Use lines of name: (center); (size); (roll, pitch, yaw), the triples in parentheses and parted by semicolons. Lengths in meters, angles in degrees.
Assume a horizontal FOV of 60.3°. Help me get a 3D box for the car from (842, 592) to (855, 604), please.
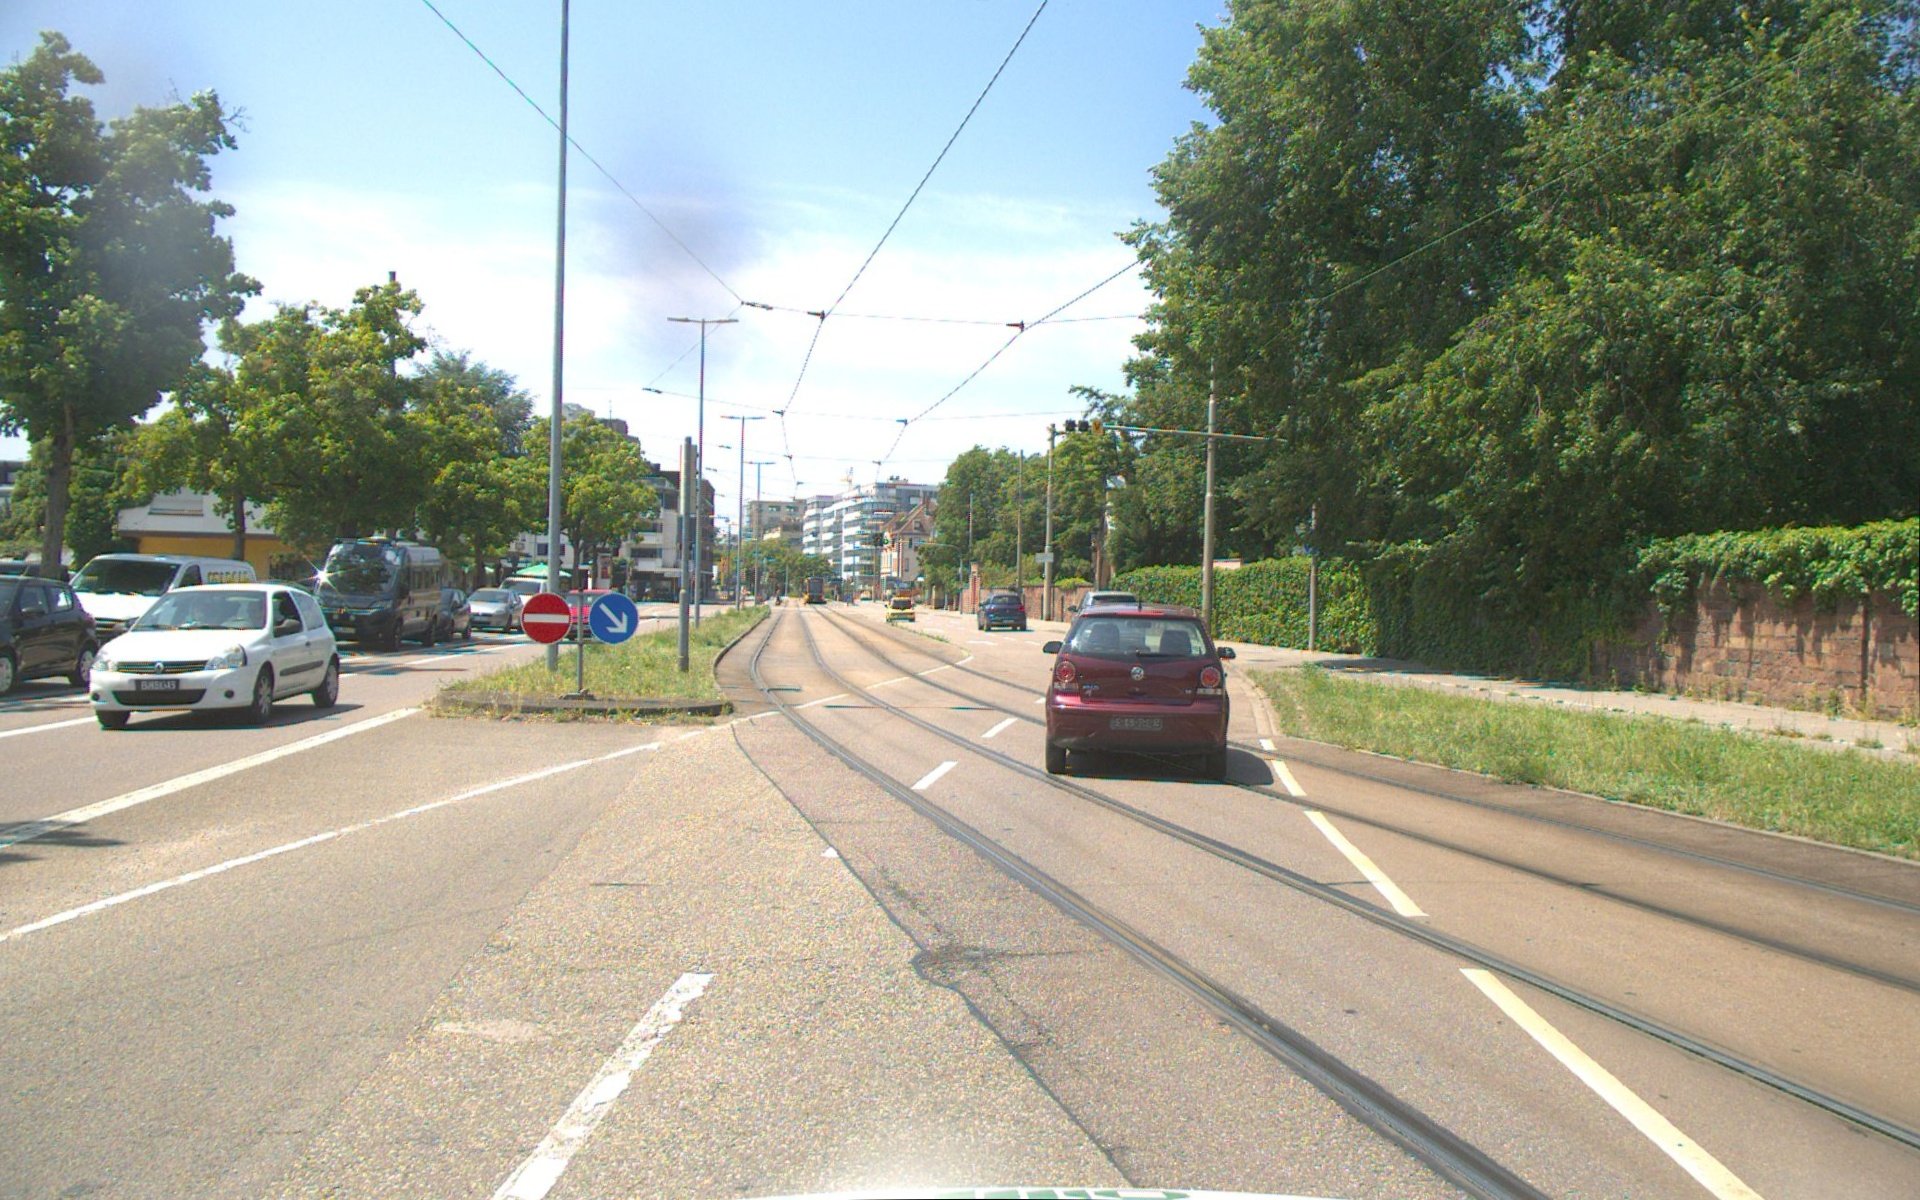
car: (-12.522, -0.211, 185.883); (1.328, 1.274, 2.969); (2, 0, -6)

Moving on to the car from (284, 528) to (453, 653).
car: (-14.562, -0.230, 41.149); (2.353, 2.702, 6.165); (4, 0, -6)

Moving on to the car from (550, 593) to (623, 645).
car: (-10.663, 0.509, 47.427); (1.625, 1.434, 3.601); (0, 0, -6)

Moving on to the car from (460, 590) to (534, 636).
car: (-16.002, 0.439, 57.314); (1.599, 1.444, 3.864); (3, 0, -4)

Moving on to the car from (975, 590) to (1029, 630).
car: (1.841, 0.417, 73.507); (1.741, 1.659, 3.993); (2, 0, -8)

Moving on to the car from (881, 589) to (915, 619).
car: (-3.787, 0.235, 100.261); (1.760, 1.712, 3.995); (2, 0, -6)

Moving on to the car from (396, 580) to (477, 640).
car: (-14.931, 0.270, 47.293); (1.287, 1.549, 4.019); (4, 0, -6)

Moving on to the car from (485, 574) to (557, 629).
car: (-16.762, 0.030, 63.359); (1.839, 2.000, 5.158); (1, 0, -6)

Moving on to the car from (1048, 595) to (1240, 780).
car: (1.673, 0.715, 15.660); (1.576, 1.524, 4.002); (0, 0, 4)

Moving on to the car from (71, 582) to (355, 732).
car: (-7.849, 0.549, 17.754); (1.617, 1.400, 3.806); (-1, 0, -6)

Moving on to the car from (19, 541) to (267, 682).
car: (-13.282, 0.169, 27.258); (1.826, 1.970, 4.802); (4, 0, -4)

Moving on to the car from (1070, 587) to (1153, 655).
car: (4.099, 0.529, 45.329); (1.759, 1.712, 3.999); (2, 0, -1)

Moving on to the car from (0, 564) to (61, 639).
car: (-25.315, 0.005, 41.308); (4.629, 1.845, 1.794); (1, 0, -8)

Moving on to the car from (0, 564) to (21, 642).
car: (-25.051, 0.047, 39.063); (4.629, 1.845, 1.794); (1, 0, -8)

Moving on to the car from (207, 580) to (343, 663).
car: (-13.747, 0.405, 33.373); (1.378, 1.465, 3.835); (4, 0, -6)

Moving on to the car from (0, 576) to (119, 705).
car: (-12.782, 0.484, 21.772); (1.582, 1.510, 3.782); (4, 0, -4)
